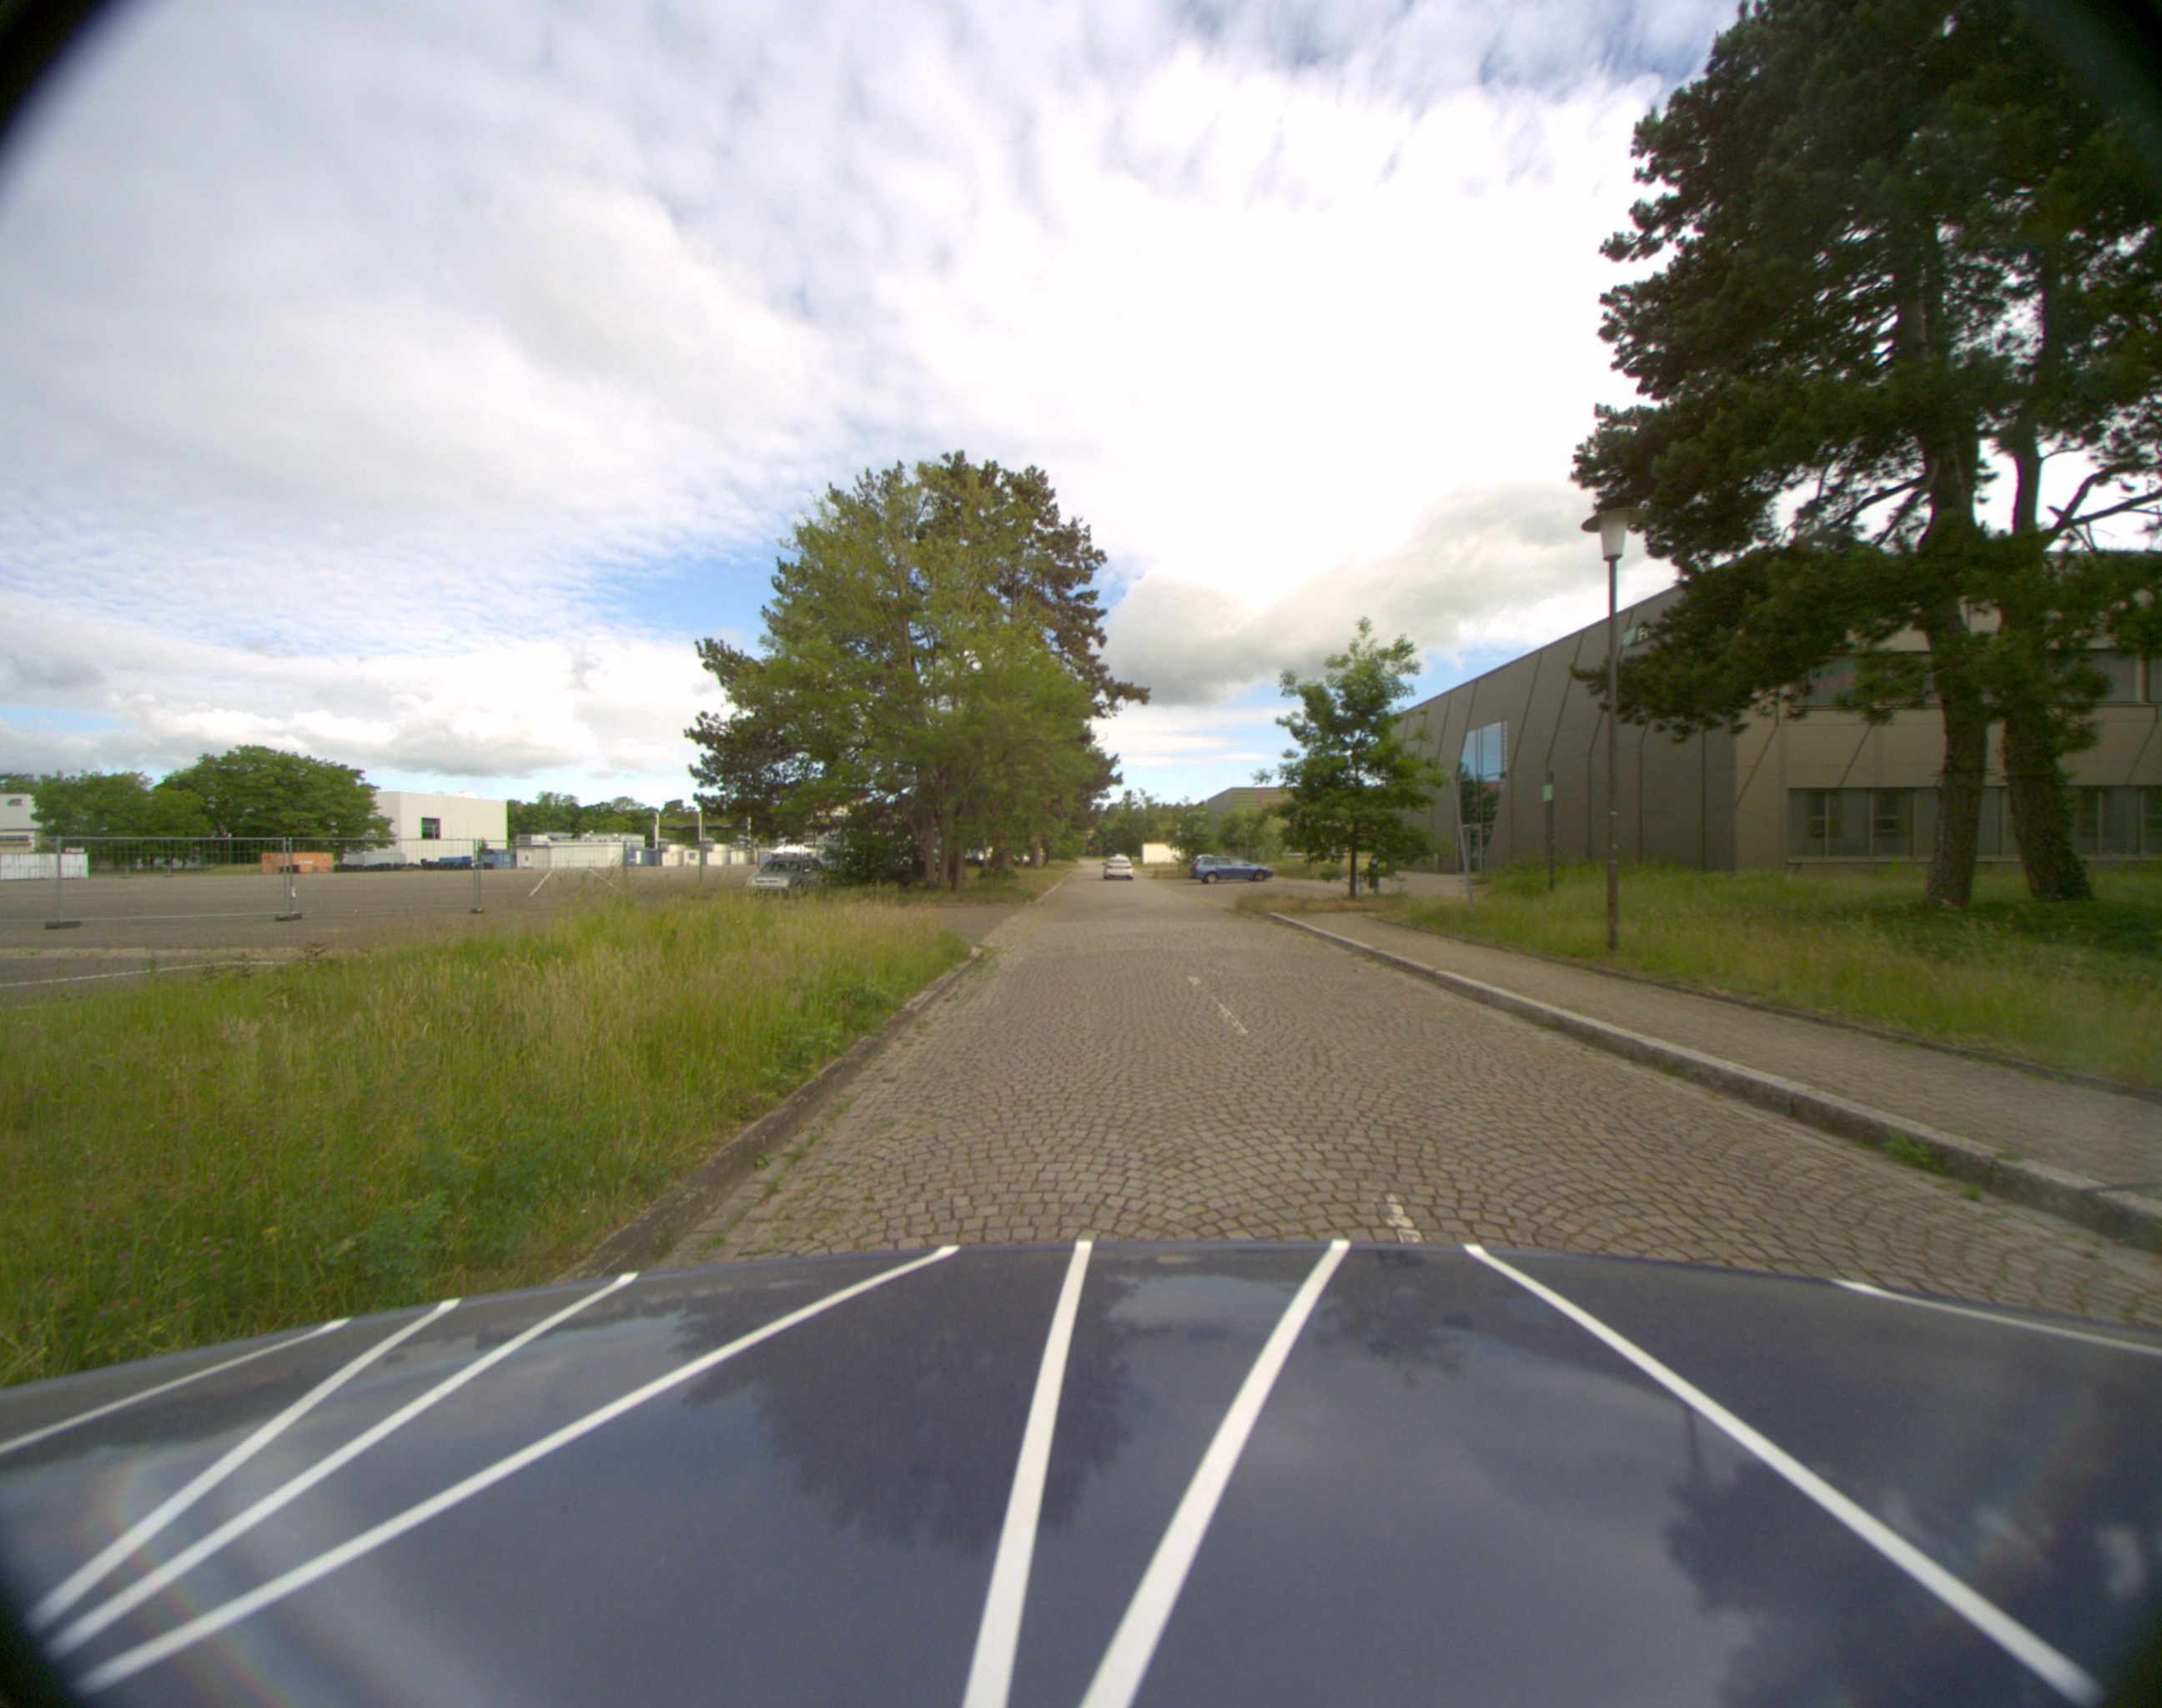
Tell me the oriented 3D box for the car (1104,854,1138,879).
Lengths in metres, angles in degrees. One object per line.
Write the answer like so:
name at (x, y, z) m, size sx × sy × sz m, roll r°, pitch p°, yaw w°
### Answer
car at (2.516, 0.775, 48.947) m, size 1.778 × 1.430 × 4.217 m, roll 2°, pitch 0°, yaw -2°

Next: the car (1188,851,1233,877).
car at (8.376, 0.643, 49.243) m, size 2.584 × 1.521 × 1.500 m, roll -2°, pitch 1°, yaw -1°

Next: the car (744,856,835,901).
car at (-10.499, 0.834, 27.747) m, size 1.678 × 1.442 × 4.488 m, roll -1°, pitch 1°, yaw -1°

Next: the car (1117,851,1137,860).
car at (9.750, 0.260, 161.676) m, size 4.062 × 1.767 × 1.792 m, roll -1°, pitch 1°, yaw 1°

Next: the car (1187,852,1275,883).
car at (8.228, 0.743, 41.876) m, size 4.426 × 1.461 × 1.633 m, roll -2°, pitch 1°, yaw -1°
